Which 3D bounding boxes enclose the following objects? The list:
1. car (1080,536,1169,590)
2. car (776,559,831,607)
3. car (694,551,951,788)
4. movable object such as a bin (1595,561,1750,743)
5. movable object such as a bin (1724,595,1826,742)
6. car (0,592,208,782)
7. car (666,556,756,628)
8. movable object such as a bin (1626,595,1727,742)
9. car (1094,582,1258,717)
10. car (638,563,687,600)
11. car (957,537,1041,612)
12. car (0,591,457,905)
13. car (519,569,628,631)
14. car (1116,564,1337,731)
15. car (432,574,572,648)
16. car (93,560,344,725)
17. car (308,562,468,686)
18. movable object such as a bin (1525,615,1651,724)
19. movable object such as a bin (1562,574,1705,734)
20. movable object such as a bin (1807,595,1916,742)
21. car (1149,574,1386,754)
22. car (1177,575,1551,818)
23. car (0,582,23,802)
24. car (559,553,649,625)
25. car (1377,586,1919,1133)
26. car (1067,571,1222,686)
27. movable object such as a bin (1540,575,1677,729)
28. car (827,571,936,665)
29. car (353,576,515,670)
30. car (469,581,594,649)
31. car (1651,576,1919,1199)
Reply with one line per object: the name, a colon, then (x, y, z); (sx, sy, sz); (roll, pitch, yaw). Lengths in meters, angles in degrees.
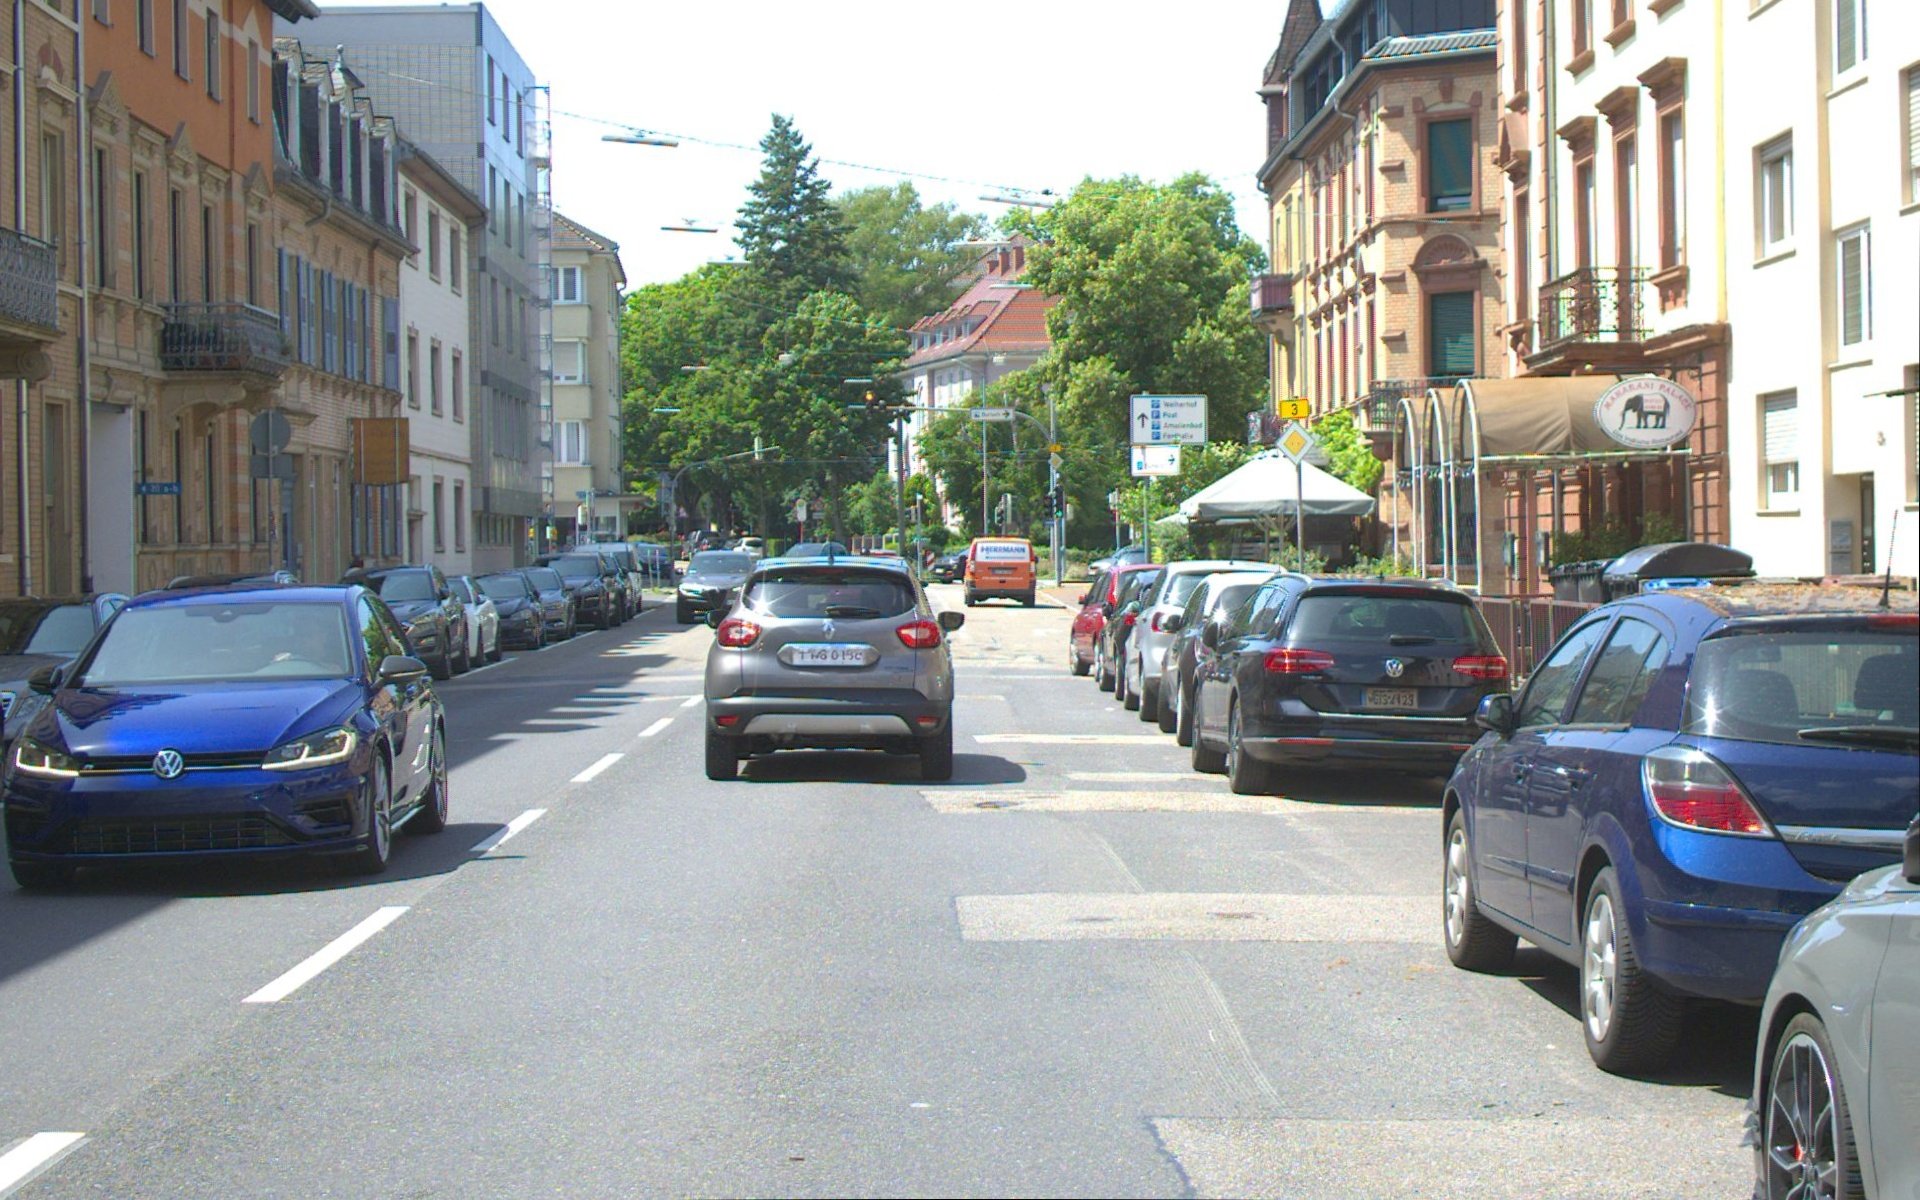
car: (4.799, -1.073, 99.789); (1.899, 1.503, 3.940); (-1, 1, 12)
car: (-5.433, -0.601, 119.162); (1.790, 1.620, 3.744); (0, 1, -4)
car: (-0.992, 0.454, 25.461); (1.744, 1.611, 4.000); (0, 1, -2)
movable object such as a bin: (6.138, 0.430, 29.696); (1.043, 1.513, 1.446); (1, 0, 1)
movable object such as a bin: (6.712, 0.554, 28.348); (0.638, 1.182, 0.852); (1, 0, 1)
car: (-7.673, 0.681, 28.457); (1.904, 1.396, 4.755); (-2, 0, -1)
car: (-5.704, -0.202, 79.106); (1.939, 1.620, 4.000); (0, 1, -2)
movable object such as a bin: (5.901, 0.552, 28.335); (0.638, 1.173, 0.911); (1, 0, 1)
car: (2.433, 0.536, 39.423); (1.611, 1.456, 3.505); (0, 0, -1)
car: (-12.995, -0.821, 150.319); (1.790, 1.620, 3.743); (0, 1, 1)
car: (1.059, -0.716, 95.255); (1.993, 2.007, 4.467); (-1, 1, -3)
car: (-3.739, 0.675, 17.823); (1.816, 1.384, 4.000); (-1, 1, -2)
car: (-8.443, -0.015, 75.426); (1.904, 1.287, 4.302); (-1, 0, 0)
car: (2.633, 0.433, 34.794); (1.860, 1.548, 4.000); (1, 1, 0)
car: (-8.362, 0.180, 63.082); (1.905, 1.287, 4.302); (-1, 0, 1)
car: (-8.030, 0.425, 37.617); (1.904, 1.614, 4.303); (-2, 0, -2)
car: (-8.153, 0.319, 49.308); (1.904, 1.614, 4.303); (-2, 0, -5)
movable object such as a bin: (6.104, 0.666, 33.461); (1.043, 1.019, 0.991); (1, 0, 1)
movable object such as a bin: (6.072, 0.477, 31.068); (1.043, 1.397, 1.254); (1, 0, 1)
movable object such as a bin: (7.426, 0.556, 28.347); (0.668, 1.173, 0.852); (1, 0, 1)
car: (2.633, 0.512, 30.217); (1.660, 1.436, 4.000); (1, 1, -1)
car: (2.666, 0.589, 23.746); (1.860, 1.460, 4.618); (1, 1, -2)
car: (-7.518, 0.681, 22.032); (1.904, 1.505, 4.303); (-2, 0, -2)
car: (-9.223, -0.296, 89.370); (1.904, 1.815, 4.302); (-1, 0, 0)
car: (2.664, 0.729, 11.924); (1.695, 1.482, 4.618); (1, 1, -2)
car: (2.381, 0.347, 45.131); (1.611, 1.438, 3.437); (0, 0, -4)
movable object such as a bin: (6.087, 0.477, 32.325); (1.043, 1.397, 1.254); (1, 0, 1)
car: (-1.486, 0.307, 63.336); (1.812, 1.615, 4.442); (-2, 0, -3)
car: (-8.319, 0.339, 54.685); (1.904, 1.352, 4.302); (-2, 0, -1)
car: (-8.497, 0.280, 68.490); (1.904, 1.287, 4.302); (-1, 0, 1)
car: (2.612, 0.732, 5.582); (1.860, 1.482, 4.310); (1, 1, -3)
